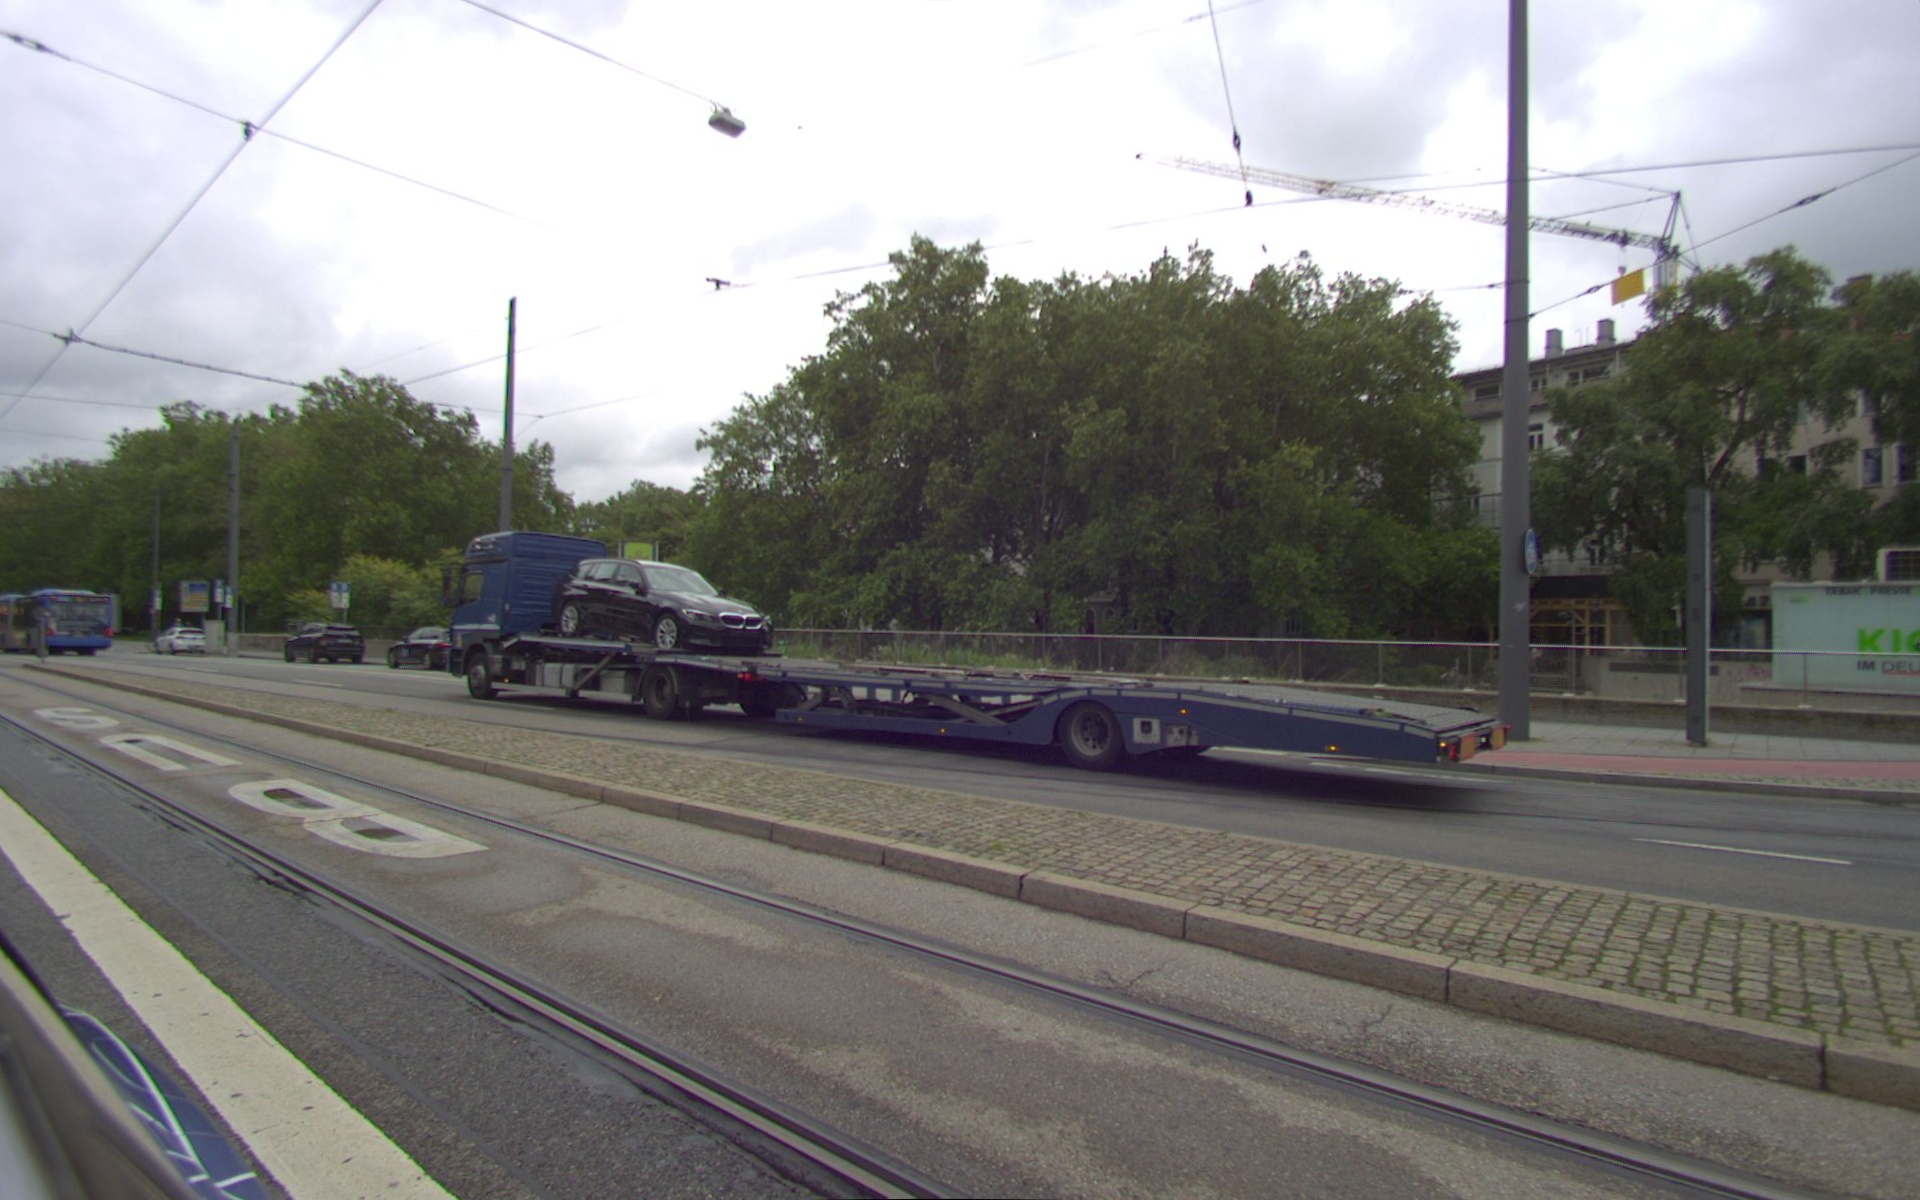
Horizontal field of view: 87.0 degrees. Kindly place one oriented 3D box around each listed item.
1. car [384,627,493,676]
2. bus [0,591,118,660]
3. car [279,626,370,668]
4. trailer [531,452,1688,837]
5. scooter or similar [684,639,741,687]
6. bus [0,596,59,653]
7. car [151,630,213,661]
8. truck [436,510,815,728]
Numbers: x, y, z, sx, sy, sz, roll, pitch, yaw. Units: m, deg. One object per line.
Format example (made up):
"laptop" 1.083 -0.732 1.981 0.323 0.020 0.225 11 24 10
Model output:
"car" -17.784 1.727 34.432 4.230 1.537 1.840 -1 -3 41
"bus" -44.755 1.265 49.765 13.403 2.989 2.599 -1 -4 40
"car" -25.642 1.852 40.806 4.099 1.582 1.973 -1 -2 41
"trailer" -0.289 0.465 13.074 15.623 2.703 2.584 -1 -4 39
"scooter or similar" -6.411 1.619 26.277 0.558 1.181 1.681 0 -2 22
"bus" -54.855 1.411 58.123 12.833 2.989 2.599 -1 -4 40
"car" -41.789 2.425 54.316 3.998 1.542 1.868 -1 -3 41
"truck" -6.154 0.377 17.849 7.683 3.111 2.540 -1 -4 39
